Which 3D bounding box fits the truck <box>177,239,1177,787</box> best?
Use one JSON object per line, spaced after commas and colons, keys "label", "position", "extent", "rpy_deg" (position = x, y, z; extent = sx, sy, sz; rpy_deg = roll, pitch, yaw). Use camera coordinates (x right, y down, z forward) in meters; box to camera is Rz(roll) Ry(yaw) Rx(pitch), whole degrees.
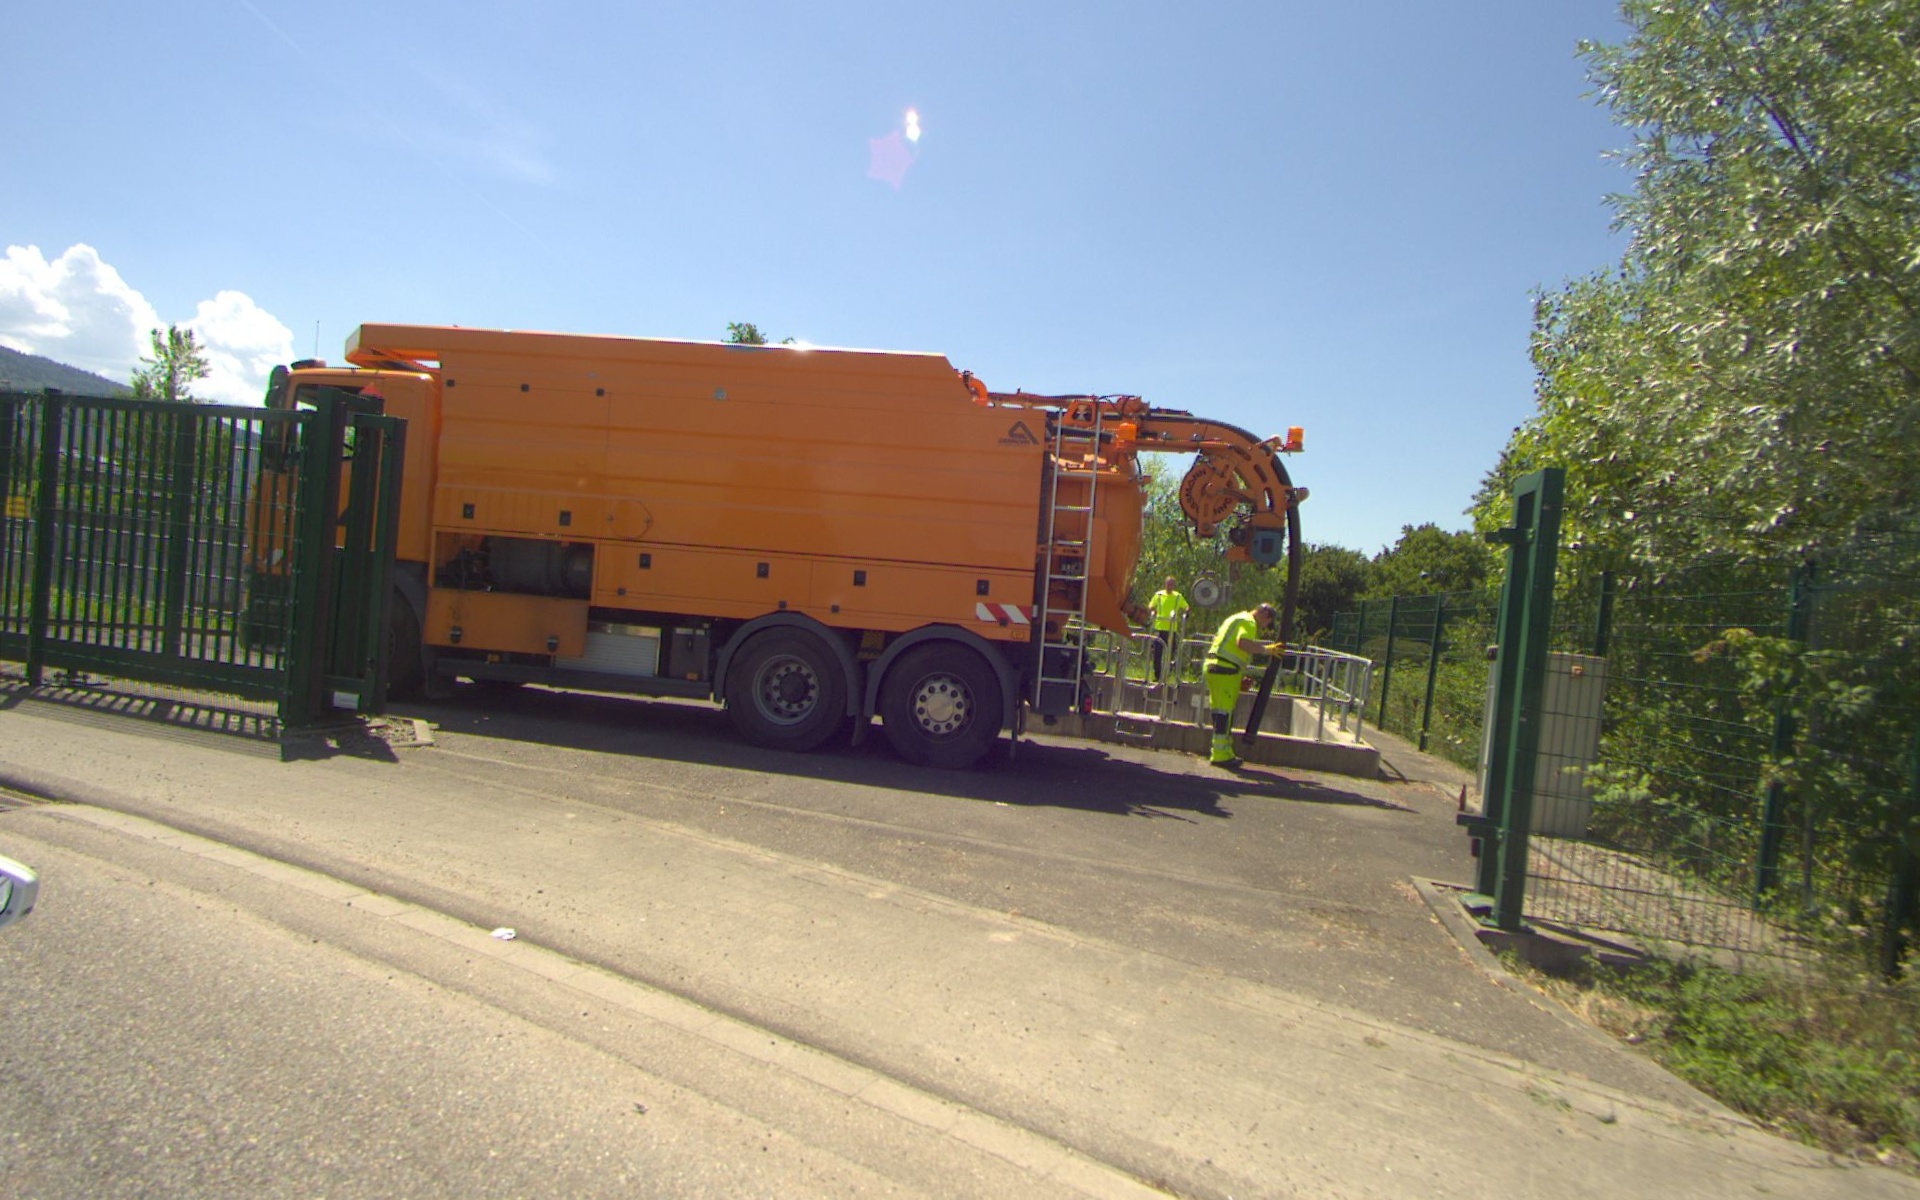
{"label": "truck", "position": [-2.412, -0.834, 10.534], "extent": [8.447, 3.856, 4.164], "rpy_deg": [6, 1, 6]}

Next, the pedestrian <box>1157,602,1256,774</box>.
{"label": "pedestrian", "position": [2.433, 0.847, 10.013], "extent": [0.743, 1.566, 0.762], "rpy_deg": [7, 2, 11]}

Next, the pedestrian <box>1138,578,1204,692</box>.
{"label": "pedestrian", "position": [3.624, 0.591, 17.369], "extent": [0.862, 1.848, 0.740], "rpy_deg": [7, 2, 8]}
